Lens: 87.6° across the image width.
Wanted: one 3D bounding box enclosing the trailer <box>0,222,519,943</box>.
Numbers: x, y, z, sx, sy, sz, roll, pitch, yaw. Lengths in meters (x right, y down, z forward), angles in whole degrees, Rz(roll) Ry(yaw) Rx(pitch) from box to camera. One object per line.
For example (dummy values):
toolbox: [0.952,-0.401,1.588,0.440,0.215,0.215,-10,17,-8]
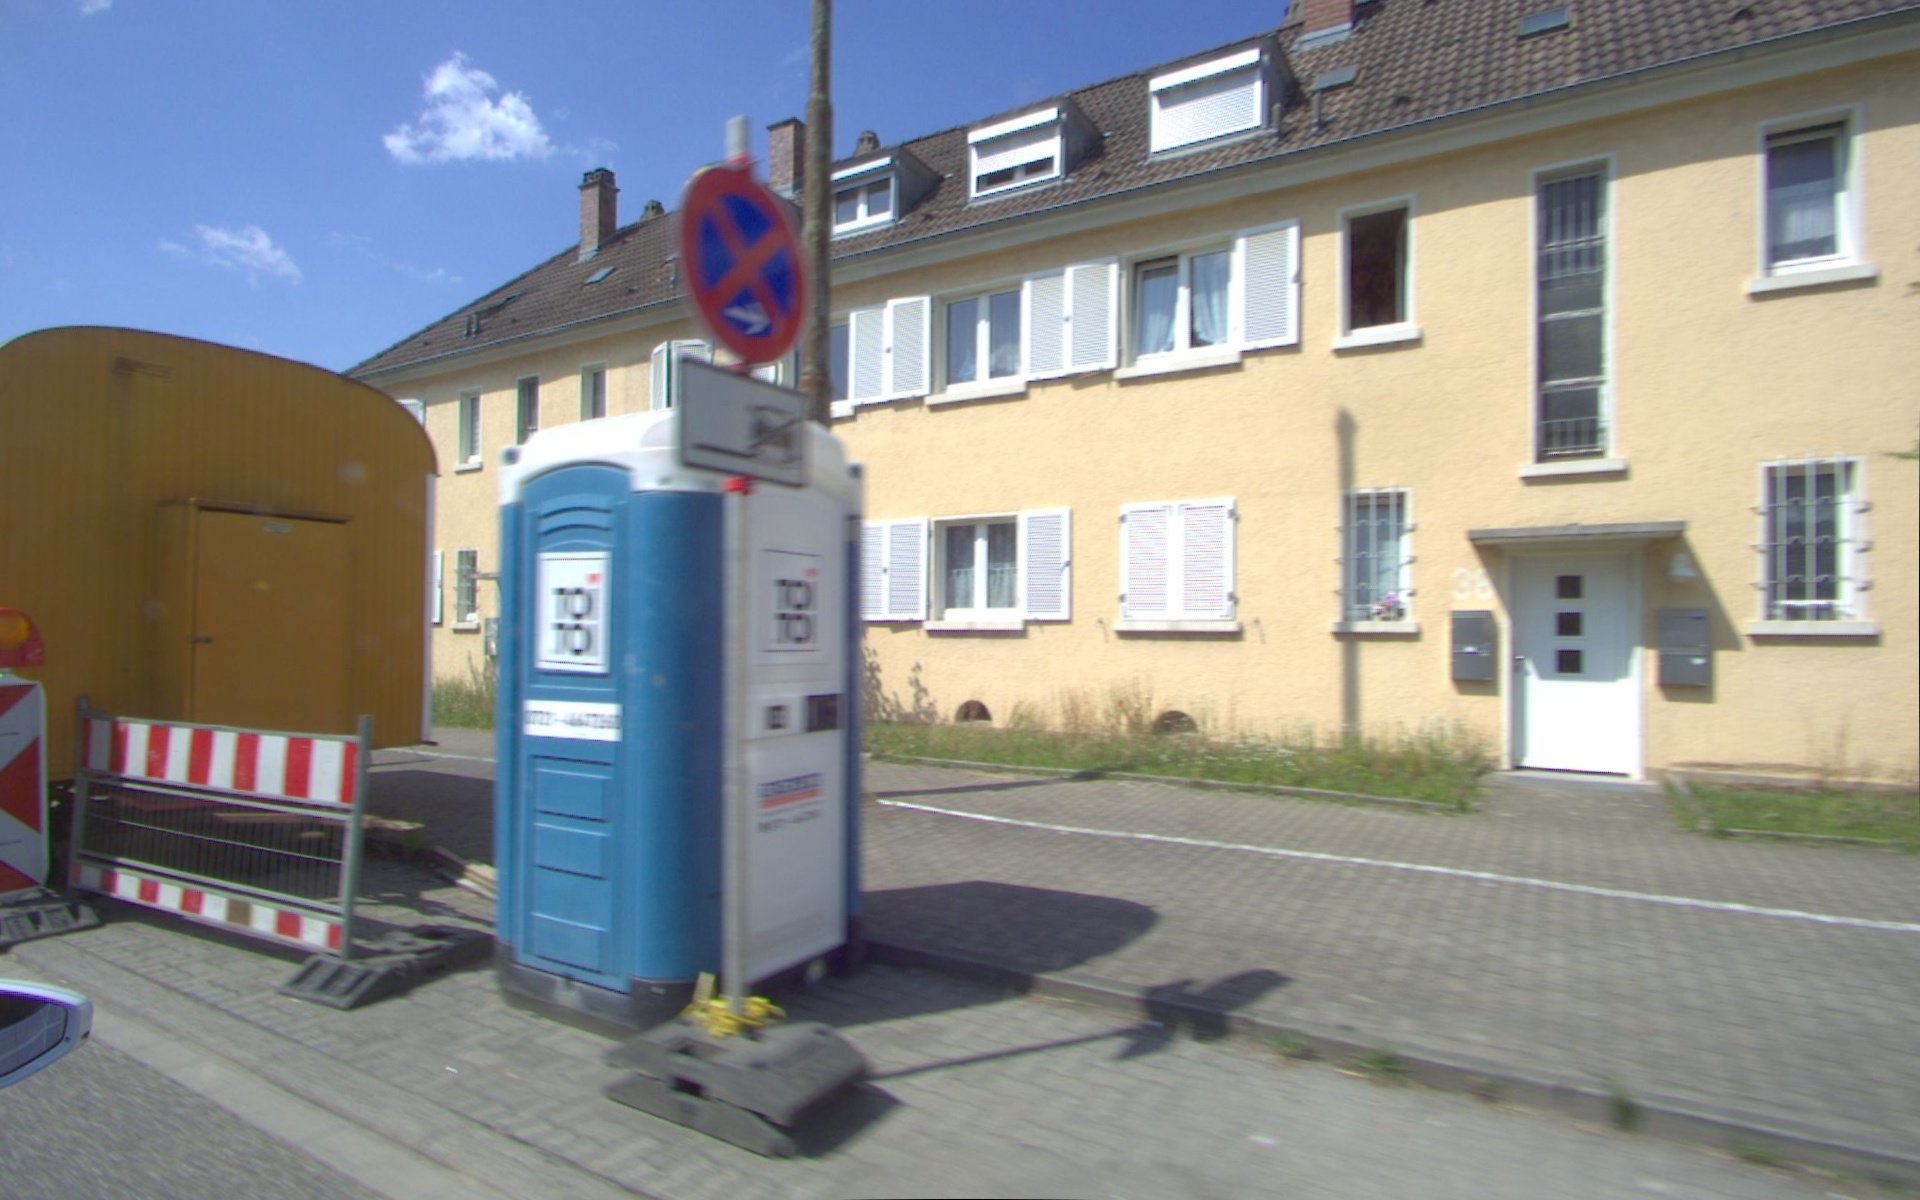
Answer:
trailer: [-5.867,-0.005,6.944,5.006,3.267,2.688,0,-2,30]
